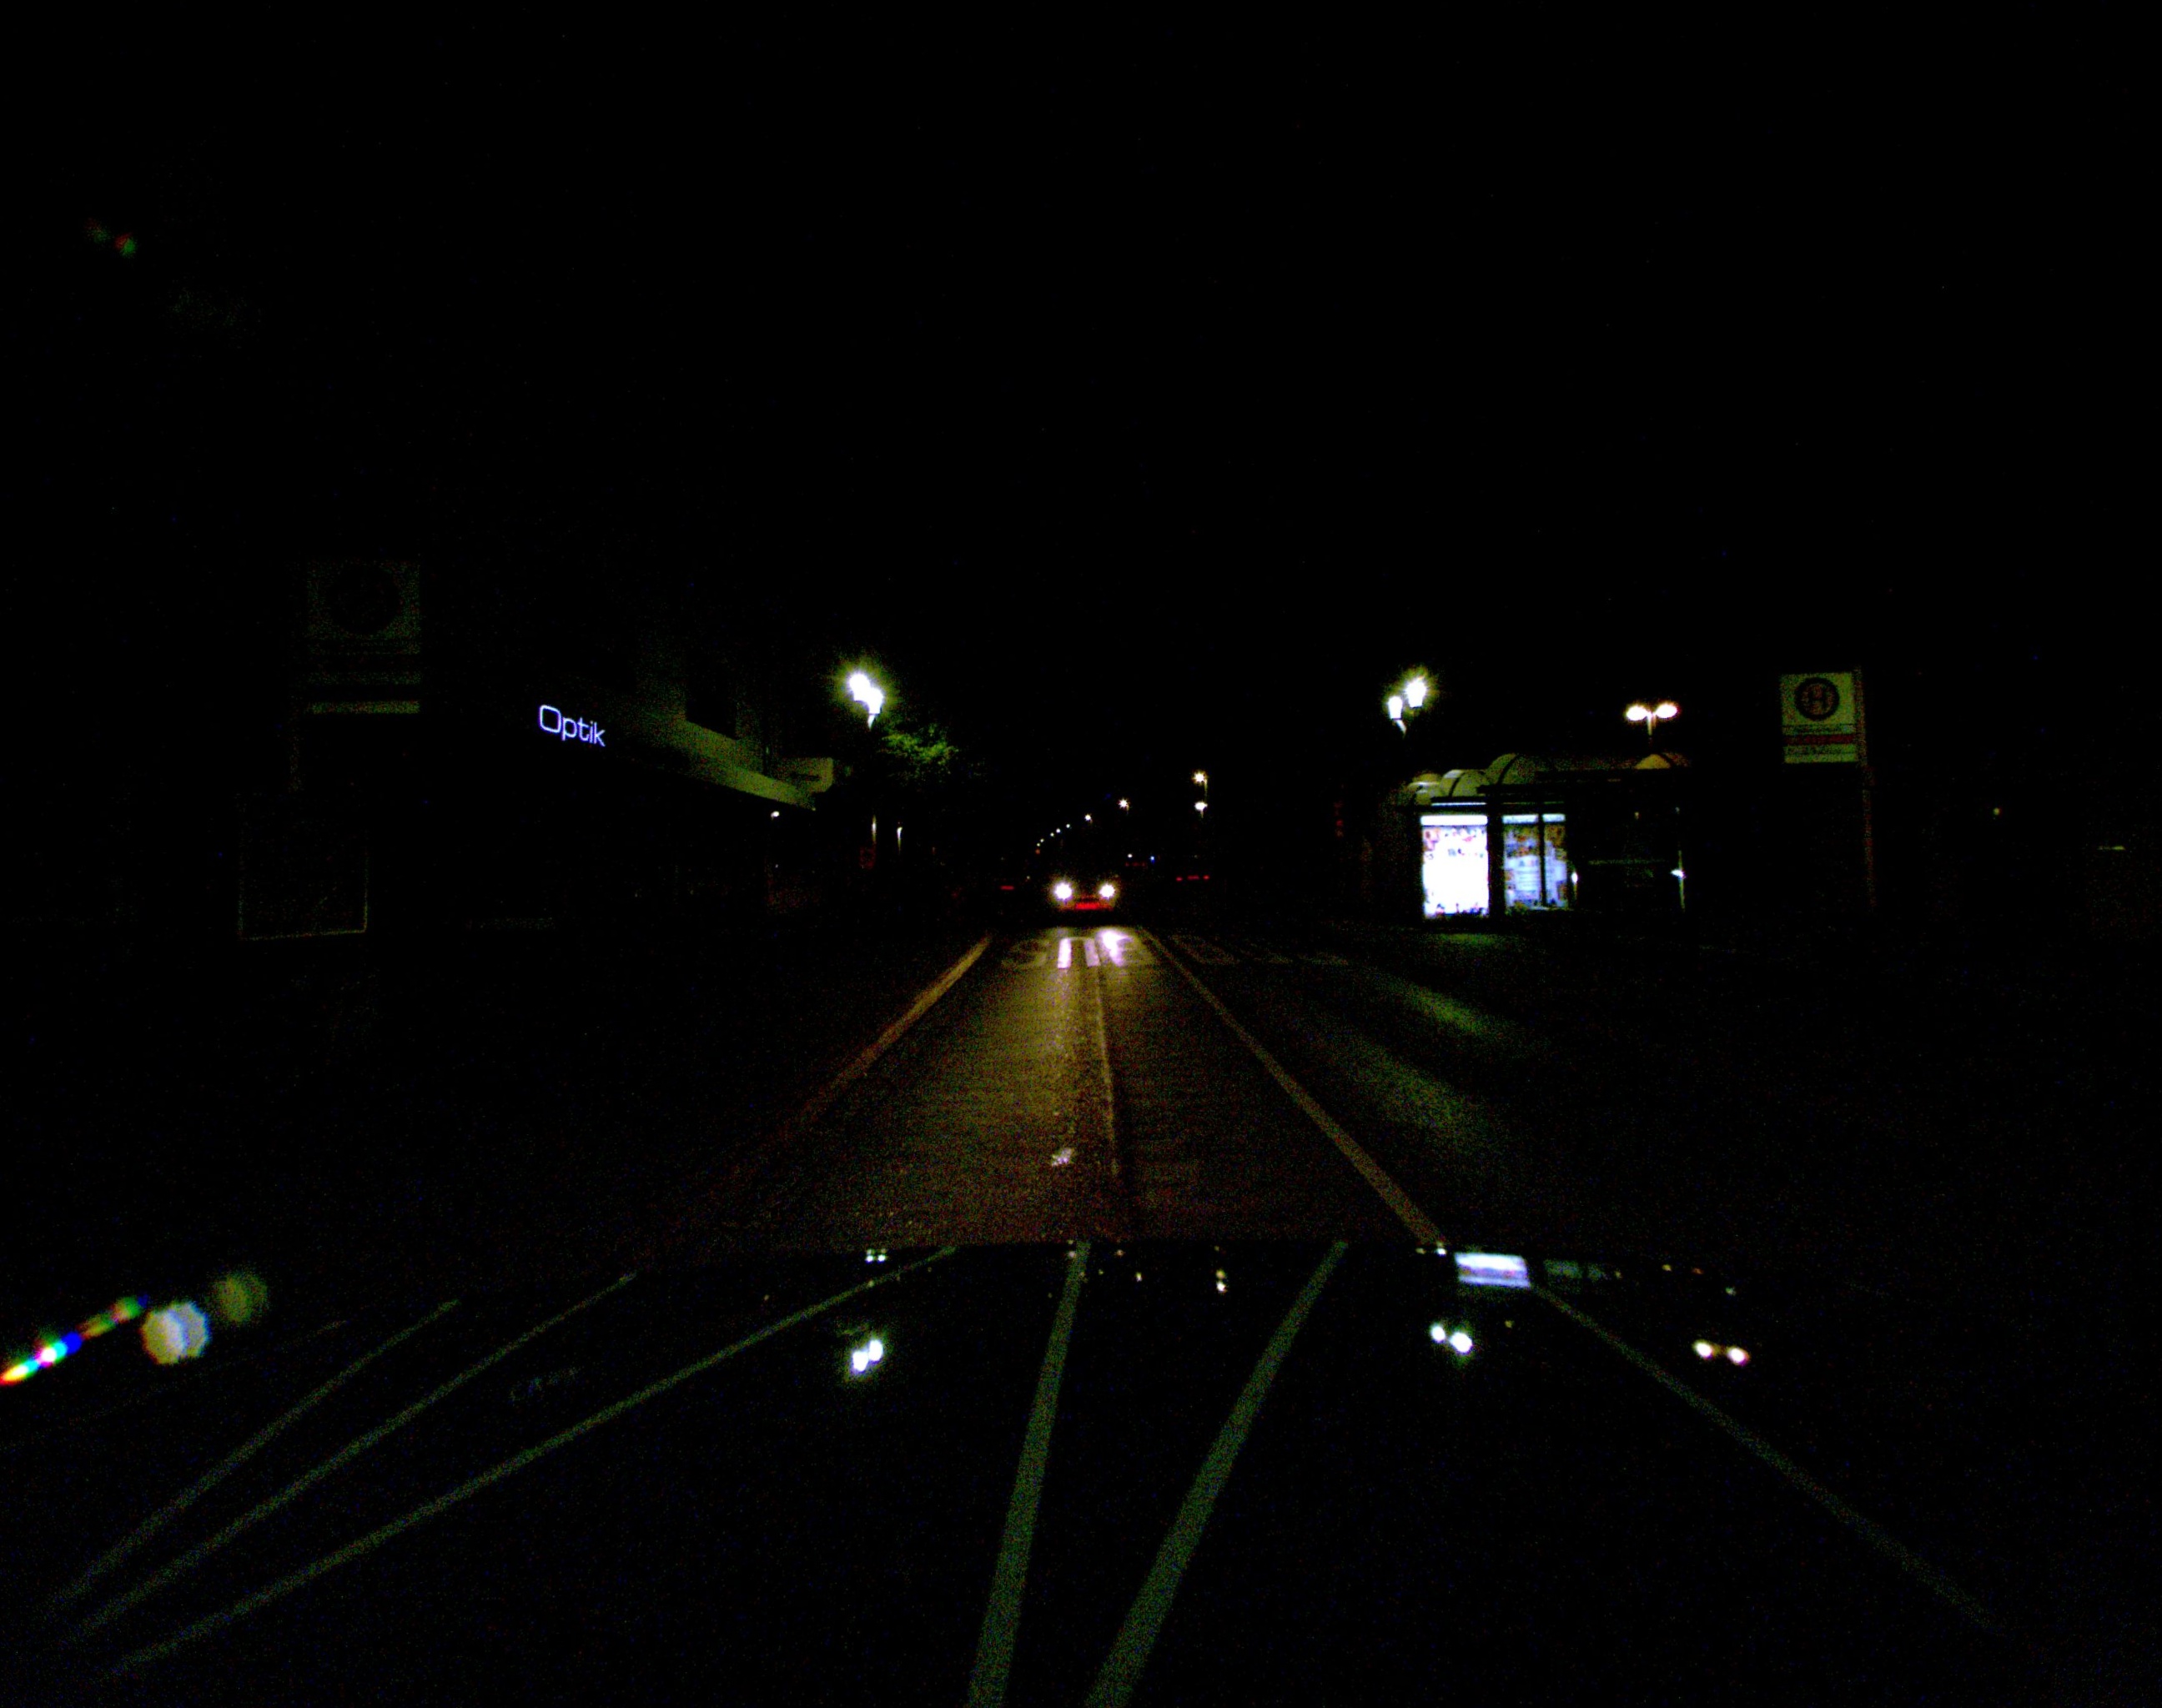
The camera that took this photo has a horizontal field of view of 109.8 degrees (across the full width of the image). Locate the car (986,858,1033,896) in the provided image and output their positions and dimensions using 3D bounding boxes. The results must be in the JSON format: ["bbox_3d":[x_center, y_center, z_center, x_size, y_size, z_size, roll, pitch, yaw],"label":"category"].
[{"bbox_3d":[-3.019,0.940,32.840,1.863,1.434,4.592,0,1,-3],"label":"car"}]

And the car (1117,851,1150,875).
[{"bbox_3d":[3.731,0.629,54.608,1.697,1.515,3.688,-2,2,-6],"label":"car"}]

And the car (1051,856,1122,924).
[{"bbox_3d":[0.069,0.865,19.688,1.628,1.496,3.549,-2,1,-2],"label":"car"}]

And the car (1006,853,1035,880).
[{"bbox_3d":[-3.895,0.753,49.250,1.792,1.632,4.378,0,0,-4],"label":"car"}]

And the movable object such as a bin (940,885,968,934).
[{"bbox_3d":[-2.598,1.125,15.525,0.525,0.932,0.629,-2,2,-11],"label":"movable object such as a bin"}]

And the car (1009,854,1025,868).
[{"bbox_3d":[-7.222,0.730,85.666,1.643,1.458,3.774,-3,1,-5],"label":"car"}]

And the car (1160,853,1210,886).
[{"bbox_3d":[5.033,0.732,37.266,1.696,1.428,4.127,-3,0,-2],"label":"car"}]
